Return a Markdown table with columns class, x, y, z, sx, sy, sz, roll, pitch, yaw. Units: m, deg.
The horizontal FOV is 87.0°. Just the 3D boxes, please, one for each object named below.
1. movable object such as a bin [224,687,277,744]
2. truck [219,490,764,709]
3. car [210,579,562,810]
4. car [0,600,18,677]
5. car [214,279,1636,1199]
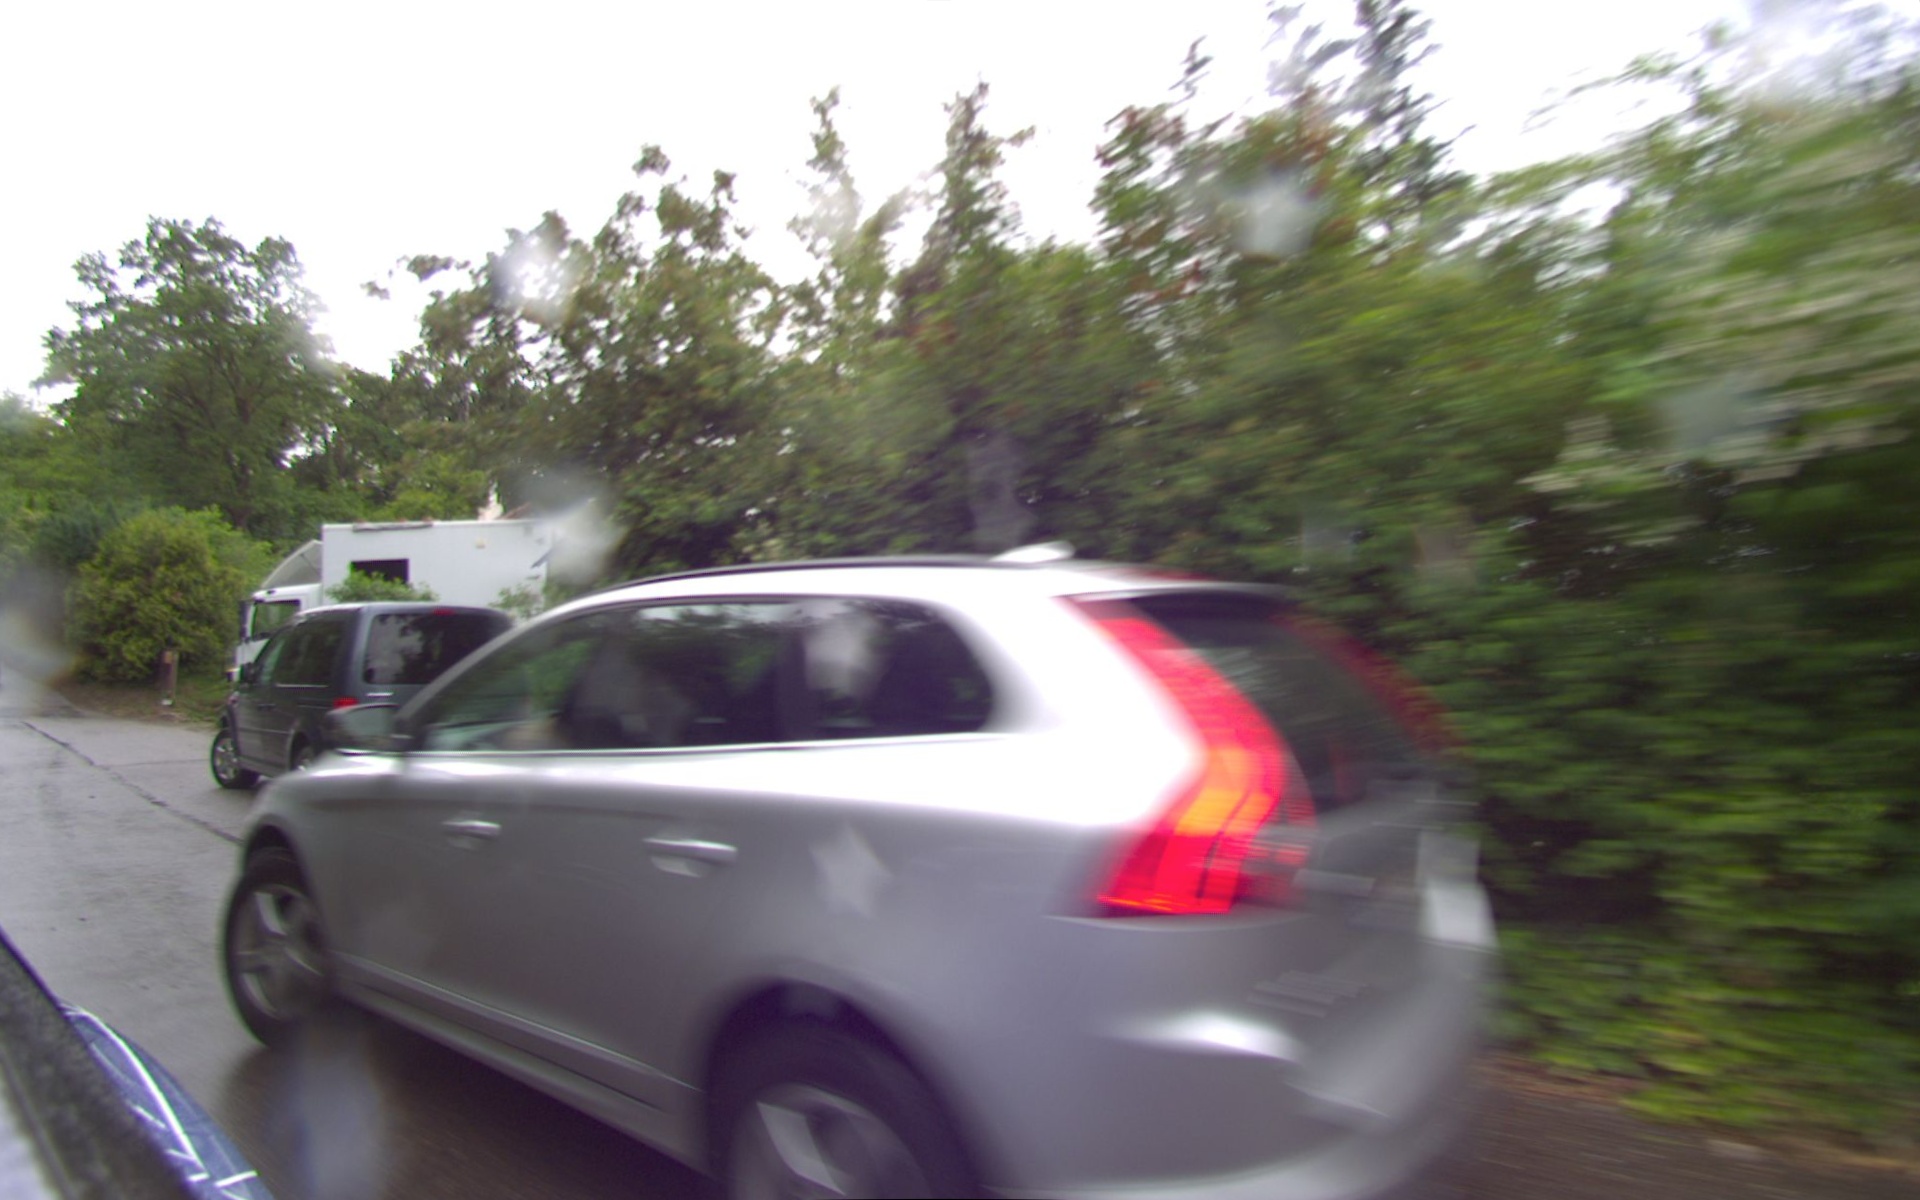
| class | x | y | z | sx | sy | sz | roll | pitch | yaw |
| --- | --- | --- | --- | --- | --- | --- | --- | --- | --- |
| movable object such as a bin | -14.563 | 2.359 | 20.776 | 0.750 | 1.079 | 0.698 | -5 | -3 | 37 |
| truck | -8.557 | -0.003 | 19.329 | 9.118 | 3.743 | 2.769 | -1 | -1 | -2 |
| car | -5.595 | 0.812 | 9.650 | 4.067 | 1.740 | 1.667 | -2 | -5 | 42 |
| car | -22.651 | 0.786 | 22.322 | 4.672 | 1.629 | 1.937 | 1 | 0 | 37 |
| car | -0.581 | 0.528 | 3.298 | 4.456 | 1.633 | 1.904 | -3 | -2 | 39 |
